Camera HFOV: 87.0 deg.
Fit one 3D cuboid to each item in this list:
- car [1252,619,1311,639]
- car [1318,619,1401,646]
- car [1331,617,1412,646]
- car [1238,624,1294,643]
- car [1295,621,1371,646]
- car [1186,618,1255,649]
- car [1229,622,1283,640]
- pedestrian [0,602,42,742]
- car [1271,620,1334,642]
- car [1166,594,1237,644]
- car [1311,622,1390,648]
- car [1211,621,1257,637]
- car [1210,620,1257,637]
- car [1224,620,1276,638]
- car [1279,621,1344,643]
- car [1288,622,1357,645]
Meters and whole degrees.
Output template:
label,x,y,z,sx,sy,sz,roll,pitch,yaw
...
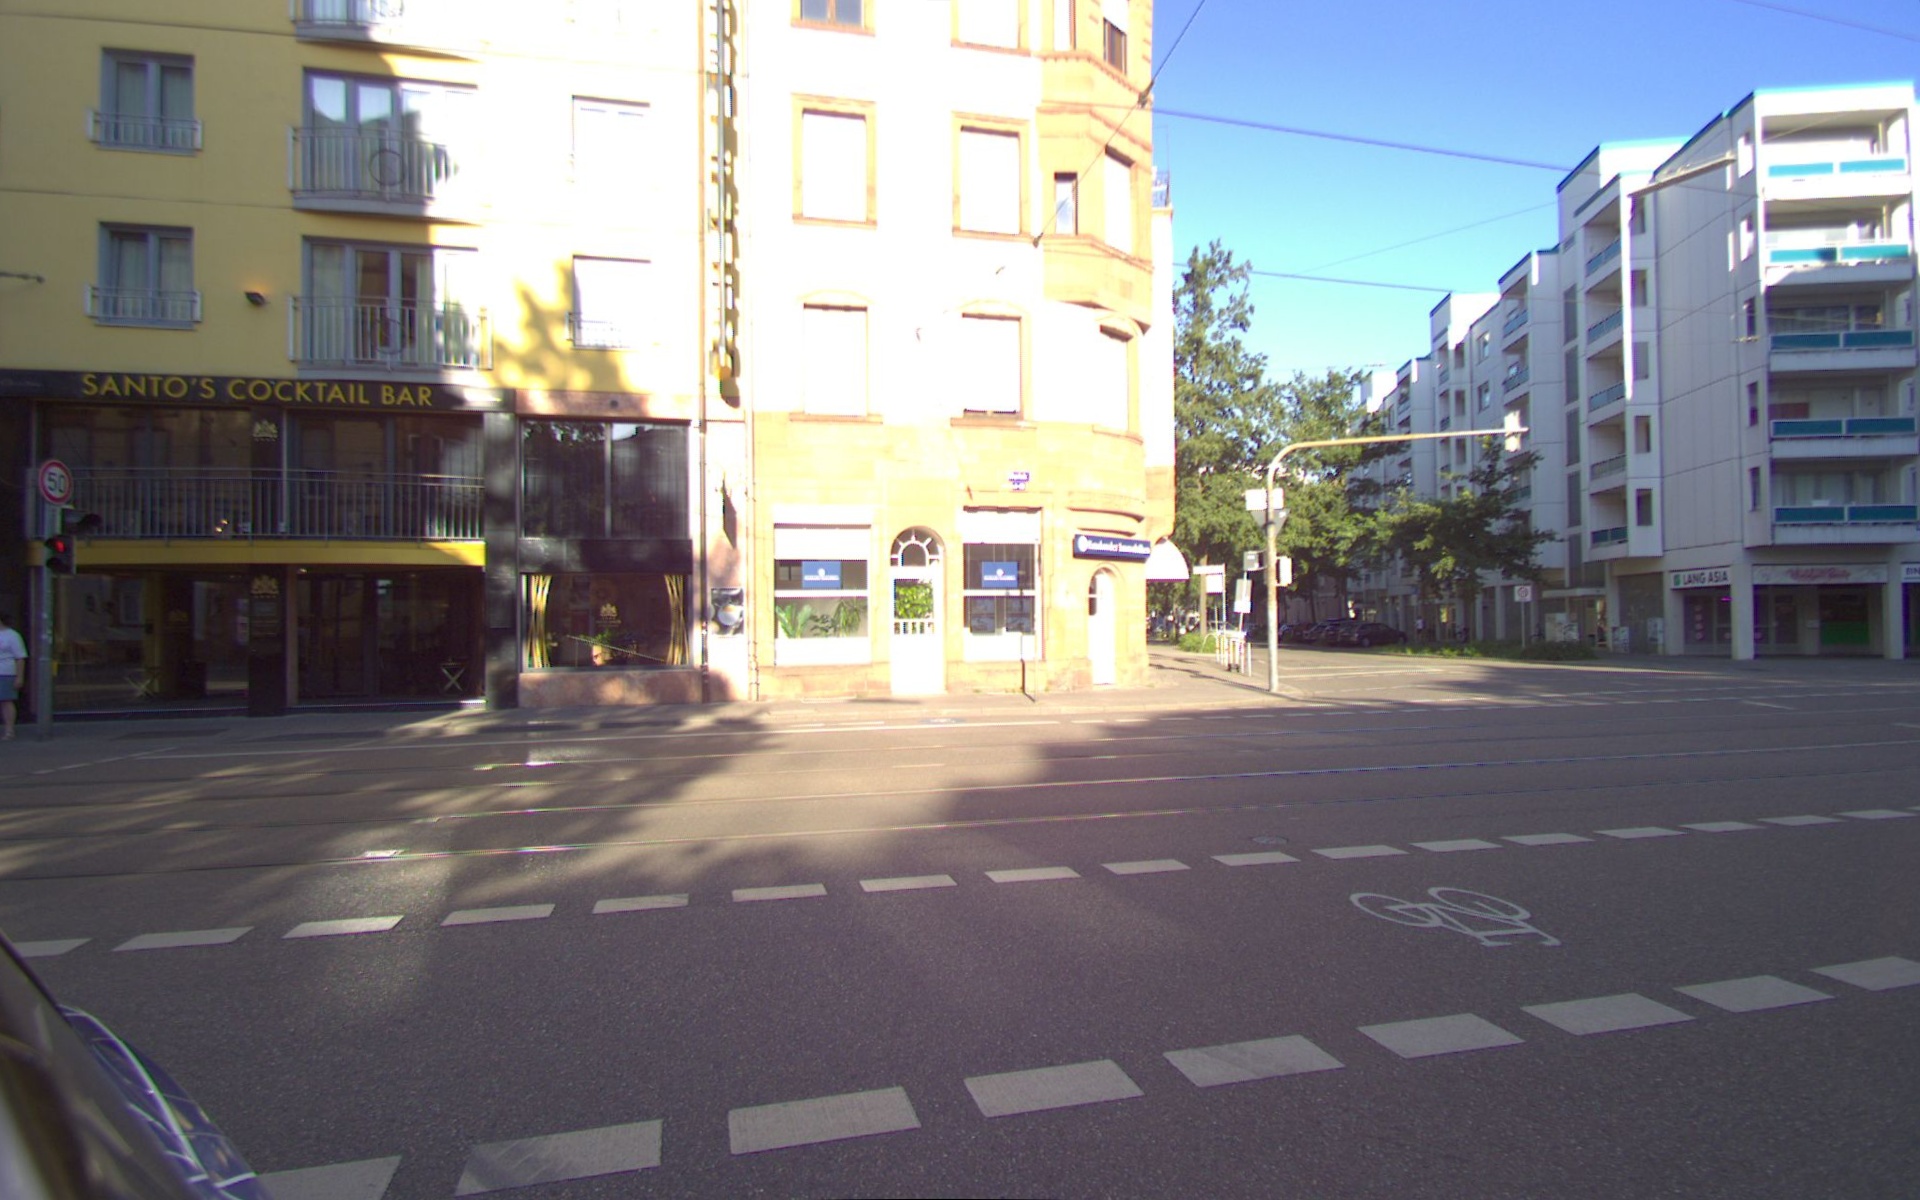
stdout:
label,x,y,z,sx,sy,sz,roll,pitch,yaw
car,26.656,2.429,83.971,4.248,1.597,1.998,-1,-2,3
car,24.614,2.021,62.455,4.246,1.597,1.999,-1,-2,2
car,24.382,1.865,60.026,3.946,1.597,1.999,-1,-2,2
car,26.609,2.932,87.976,4.248,1.597,1.998,-1,-2,3
car,24.826,2.198,67.440,4.246,1.597,1.999,-1,-2,2
car,15.084,1.932,58.777,1.965,1.763,4.012,0,-2,-20
car,26.686,2.773,91.412,4.248,1.597,1.998,-1,-2,3
pedestrian,-13.218,0.971,13.819,0.723,1.854,0.729,0,2,-13
car,26.731,2.420,79.069,4.248,1.597,1.998,-1,-2,3
car,16.225,1.318,68.700,3.283,3.203,8.073,-1,-1,4
car,25.030,2.253,65.000,4.246,1.597,1.999,-1,-2,2
car,28.780,3.016,106.316,4.248,1.597,1.998,-1,-2,3
car,27.388,2.874,101.453,4.248,1.597,1.998,-1,-2,3
car,26.948,2.732,94.241,4.248,1.597,1.998,-1,-2,3
car,26.602,2.419,76.661,4.248,1.597,1.998,-1,-2,3
car,26.358,2.423,73.633,4.248,1.597,1.998,-1,-2,3
